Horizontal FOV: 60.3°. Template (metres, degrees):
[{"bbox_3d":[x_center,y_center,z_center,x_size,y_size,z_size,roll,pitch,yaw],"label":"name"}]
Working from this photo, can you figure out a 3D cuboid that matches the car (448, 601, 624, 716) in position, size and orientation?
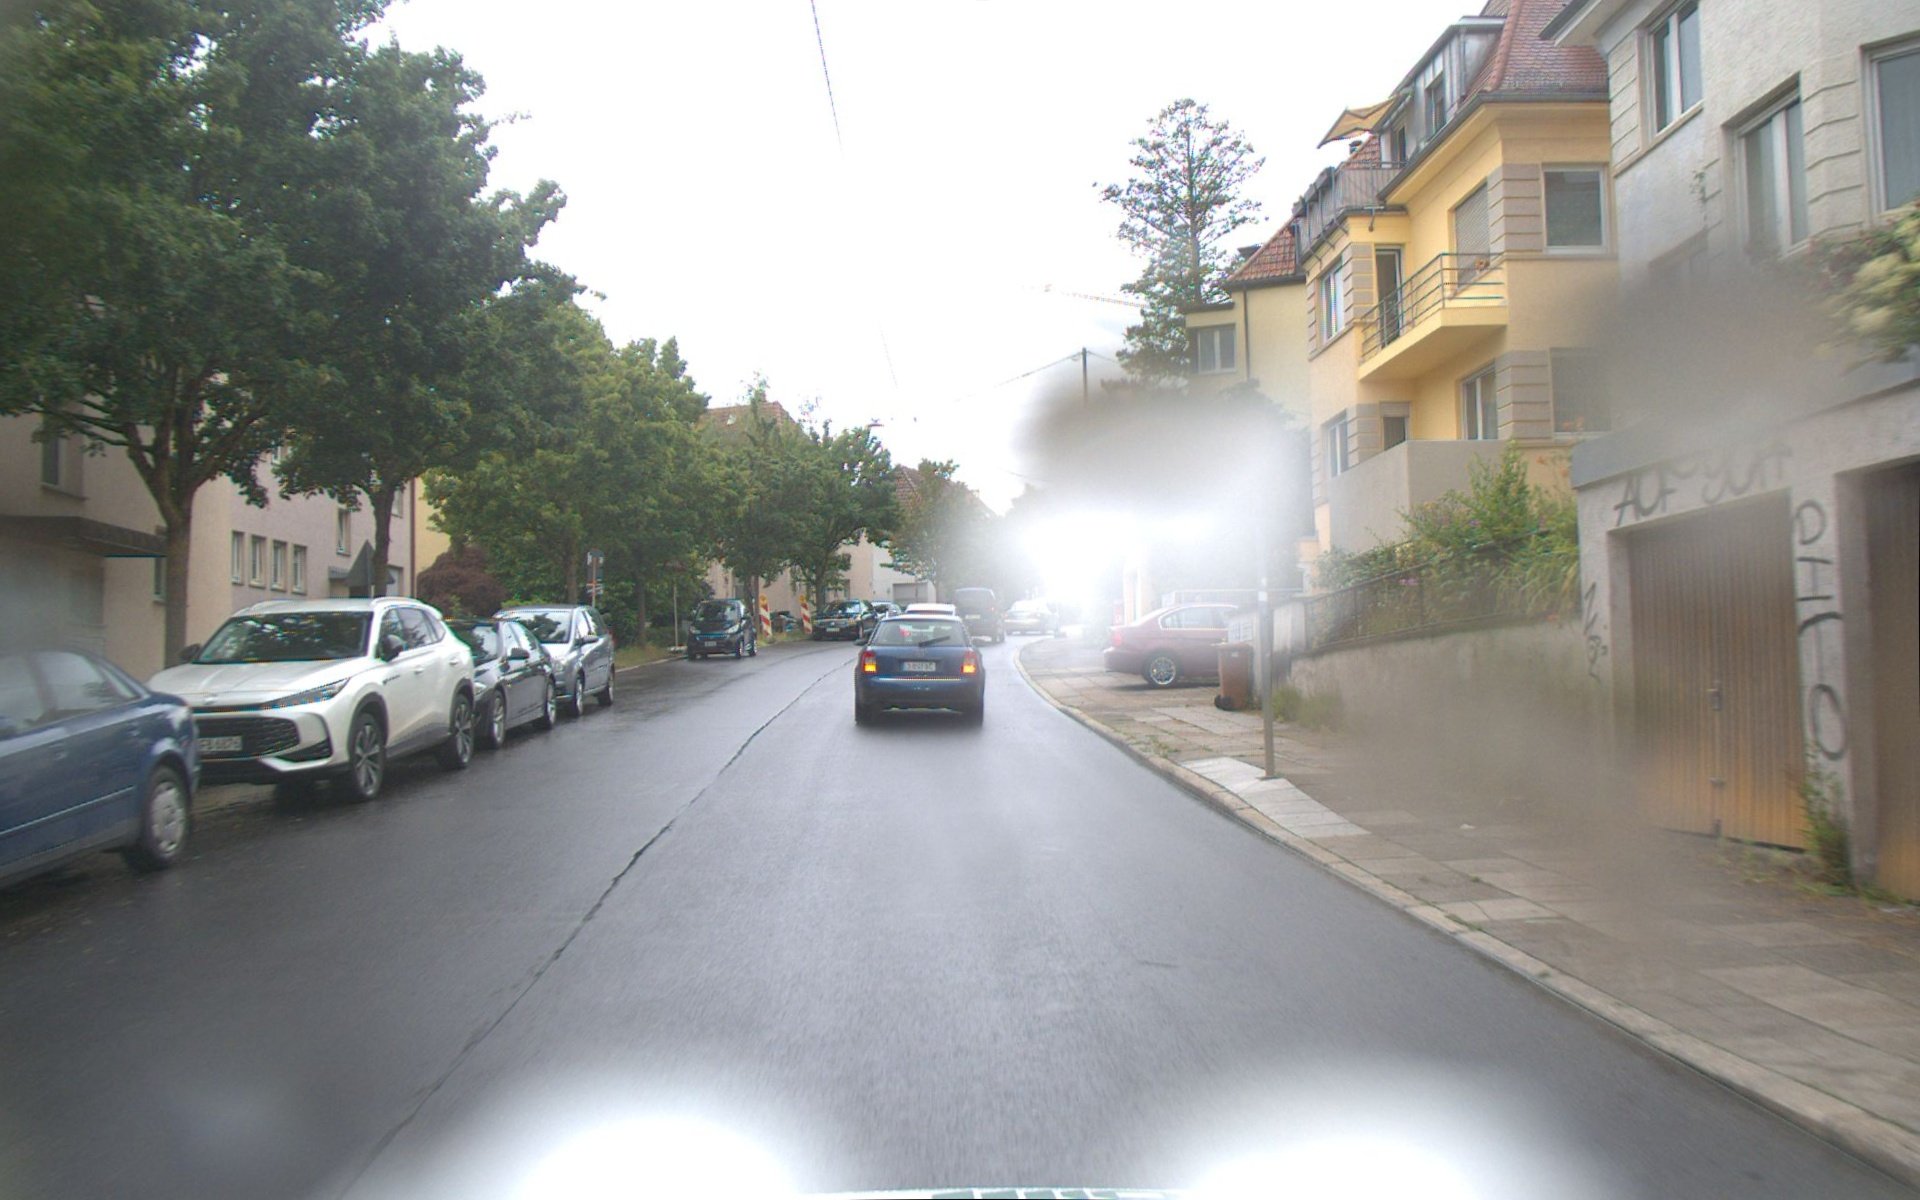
[{"bbox_3d":[-6.389,0.848,25.347,1.732,1.566,4.006,-2,-1,-2],"label":"car"}]

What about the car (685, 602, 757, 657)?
[{"bbox_3d":[-6.447,0.774,44.858,1.444,1.318,3.221,2,1,0],"label":"car"}]

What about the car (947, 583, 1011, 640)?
[{"bbox_3d":[0.692,0.359,57.045,1.697,1.799,4.238,2,1,7],"label":"car"}]

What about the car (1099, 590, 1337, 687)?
[{"bbox_3d":[4.456,0.646,29.002,3.904,1.492,1.740,-2,1,2],"label":"car"}]

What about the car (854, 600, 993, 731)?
[{"bbox_3d":[-0.526,0.821,22.750,1.699,1.492,3.999,2,1,-2],"label":"car"}]

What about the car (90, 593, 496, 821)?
[{"bbox_3d":[-5.665,0.828,14.759,1.732,1.655,4.689,-2,-1,-1],"label":"car"}]

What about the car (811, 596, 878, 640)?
[{"bbox_3d":[-4.286,0.646,61.932,1.697,1.492,4.003,2,1,7],"label":"car"}]

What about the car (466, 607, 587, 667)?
[{"bbox_3d":[-13.112,1.099,50.123,3.146,1.395,1.479,-7,1,-1],"label":"car"}]

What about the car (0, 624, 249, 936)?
[{"bbox_3d":[-5.559,0.934,8.740,1.733,1.411,4.632,-2,1,-3],"label":"car"}]

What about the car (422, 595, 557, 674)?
[{"bbox_3d":[-13.022,0.929,45.857,3.146,1.770,1.479,-7,1,-1],"label":"car"}]

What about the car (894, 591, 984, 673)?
[{"bbox_3d":[-0.467,0.702,38.920,1.935,1.663,4.235,2,1,0],"label":"car"}]

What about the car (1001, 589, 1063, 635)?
[{"bbox_3d":[3.093,0.472,70.367,1.697,1.799,4.238,2,1,15],"label":"car"}]

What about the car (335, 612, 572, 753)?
[{"bbox_3d":[-6.033,0.930,20.161,1.732,1.499,4.006,-2,-1,-2],"label":"car"}]

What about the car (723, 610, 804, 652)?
[{"bbox_3d":[-8.823,1.384,74.332,3.143,1.395,1.481,-7,1,14],"label":"car"}]
